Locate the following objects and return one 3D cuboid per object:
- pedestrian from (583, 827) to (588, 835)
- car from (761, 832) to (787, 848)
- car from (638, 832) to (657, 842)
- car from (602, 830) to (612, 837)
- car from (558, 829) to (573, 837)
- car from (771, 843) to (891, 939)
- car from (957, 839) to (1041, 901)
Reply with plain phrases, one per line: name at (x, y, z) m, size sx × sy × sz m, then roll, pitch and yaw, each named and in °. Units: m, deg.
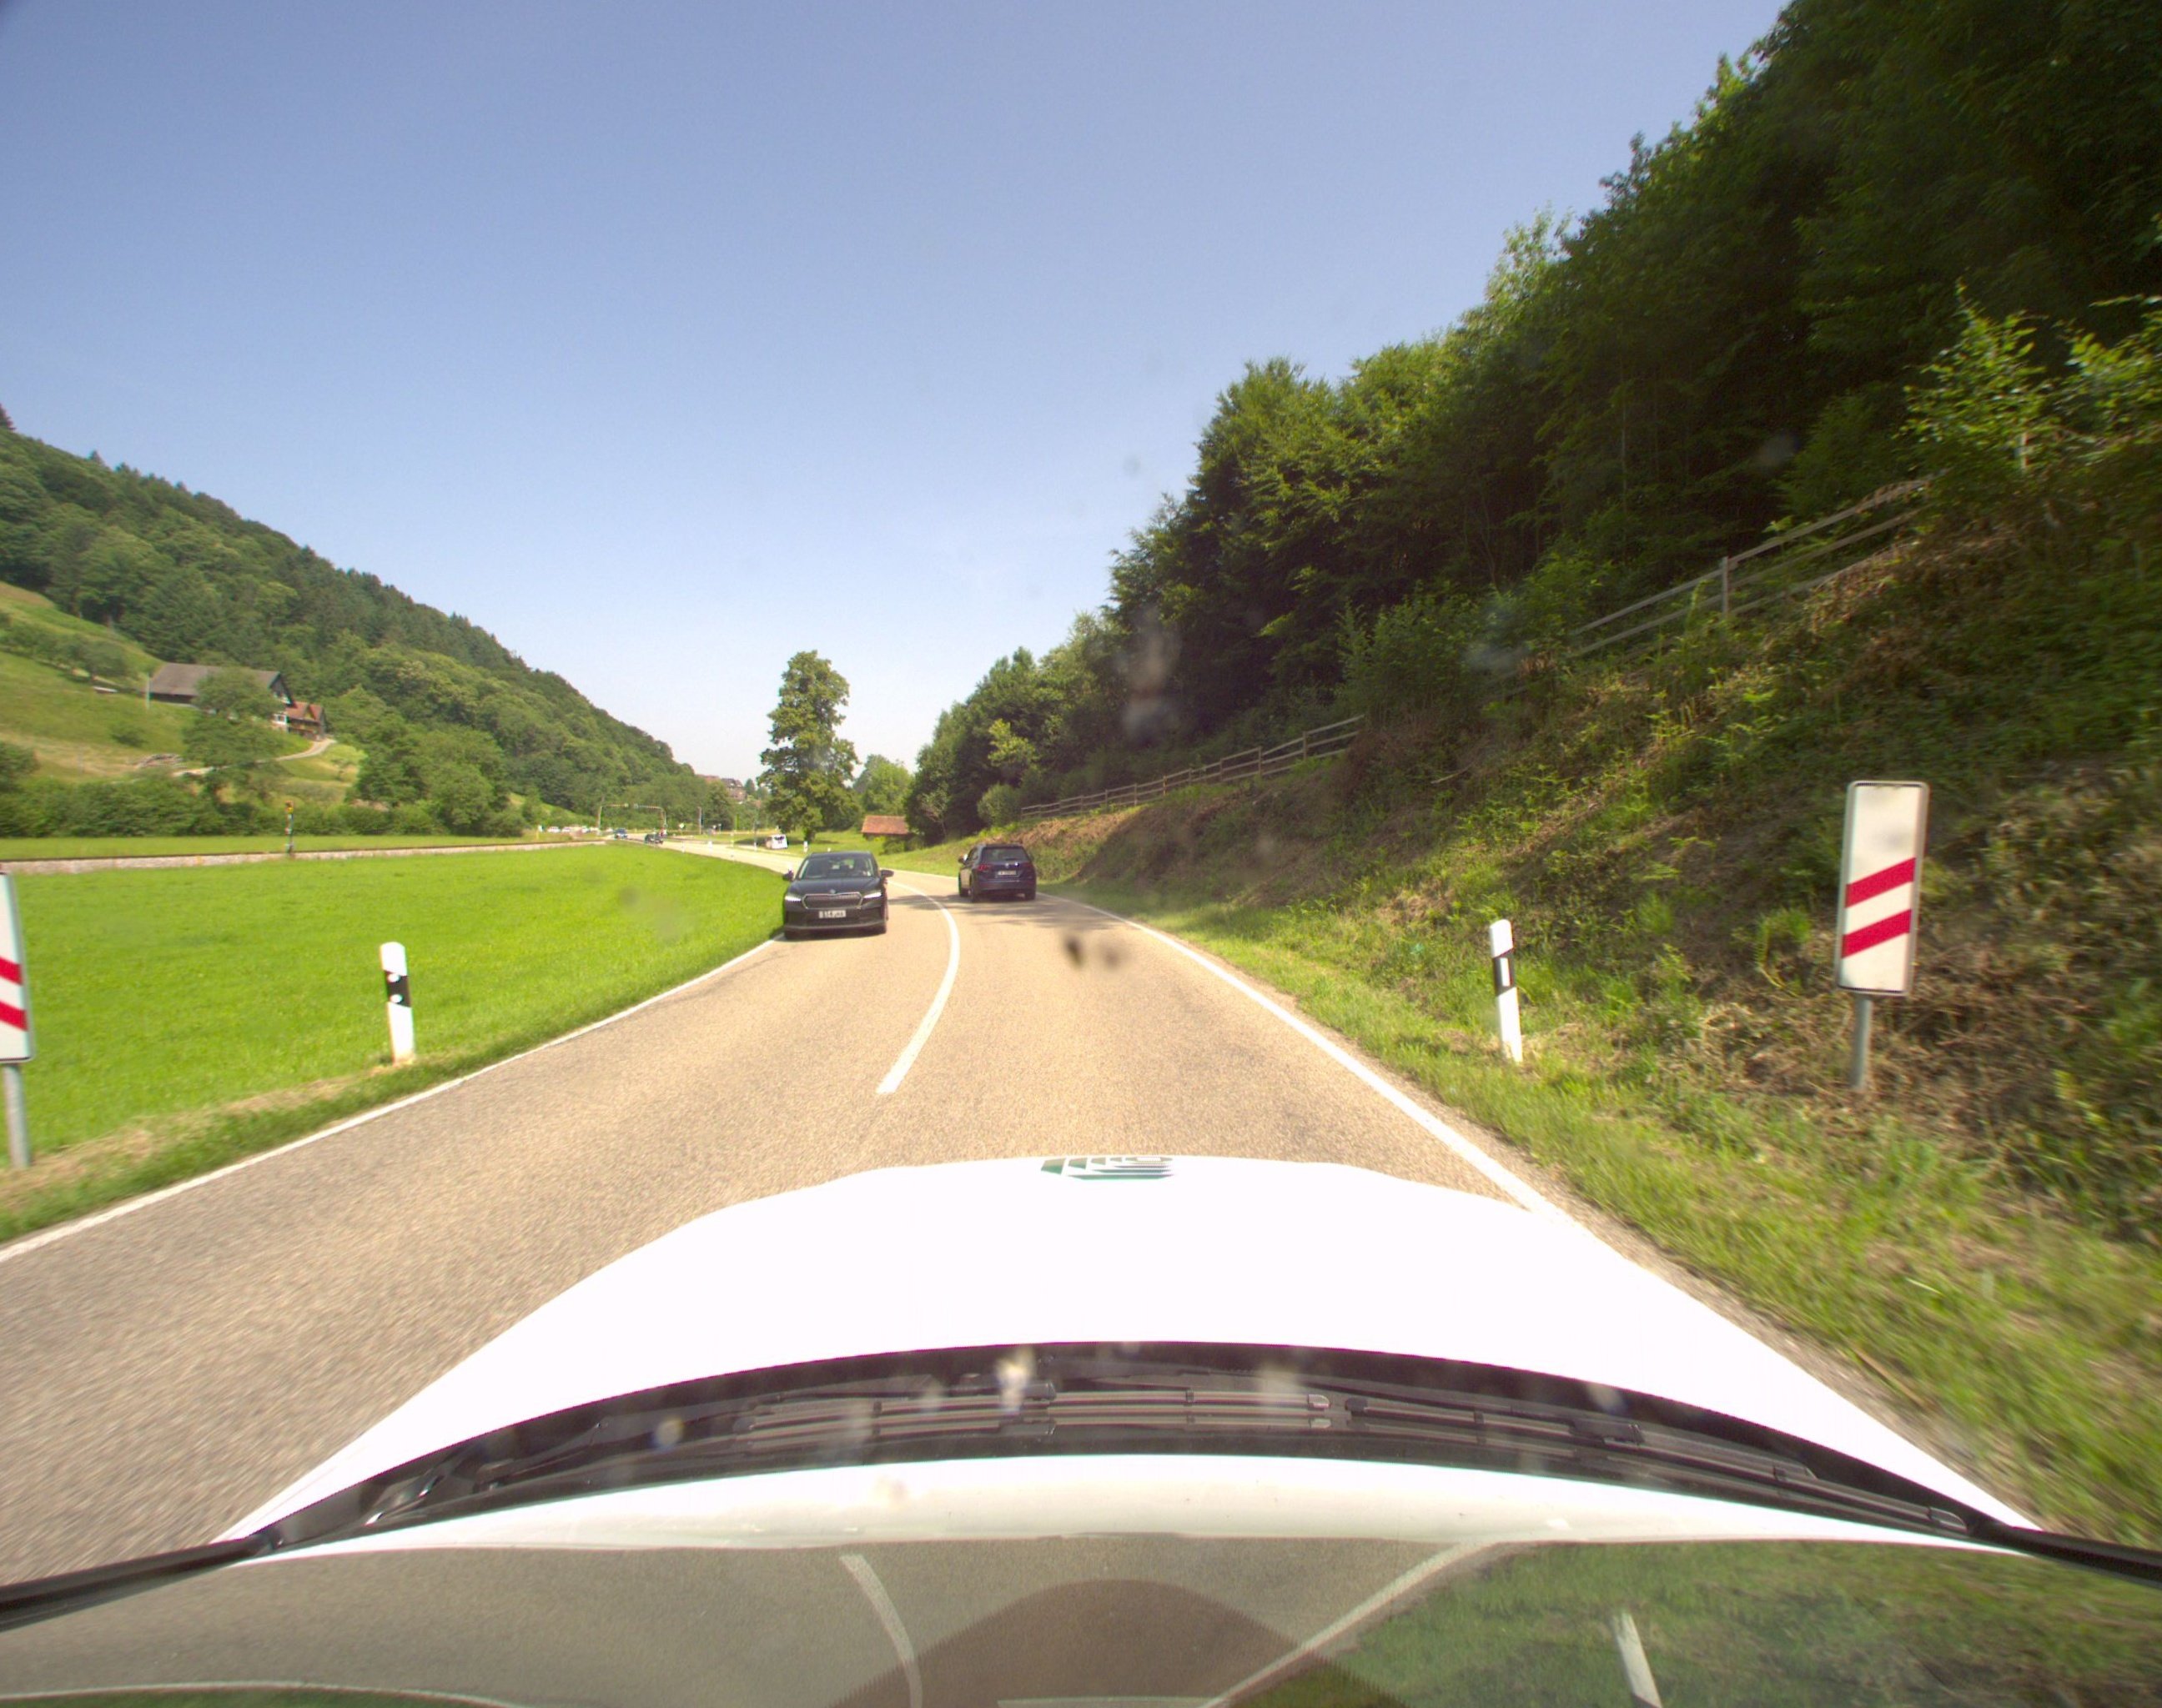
pedestrian at (-108.700, -5.048, 178.550) m, size 0.790 × 1.842 × 0.694 m, roll -1°, pitch 2°, yaw -18°
car at (-40.829, -1.860, 108.254) m, size 2.014 × 1.847 × 4.819 m, roll -6°, pitch 5°, yaw -33°
car at (-66.299, -2.656, 124.503) m, size 1.931 × 1.470 × 4.461 m, roll -1°, pitch 2°, yaw -37°
car at (-108.043, -4.753, 185.674) m, size 1.839 × 1.500 × 4.234 m, roll -1°, pitch 2°, yaw -32°
car at (-115.959, -4.773, 183.166) m, size 2.002 × 1.641 × 4.866 m, roll 0°, pitch 2°, yaw -23°
car at (-4.903, 0.638, 16.576) m, size 1.877 × 1.587 × 4.576 m, roll -3°, pitch 1°, yaw -12°
car at (-2.510, 0.438, 24.102) m, size 1.855 × 1.649 × 4.119 m, roll -1°, pitch 0°, yaw -14°
